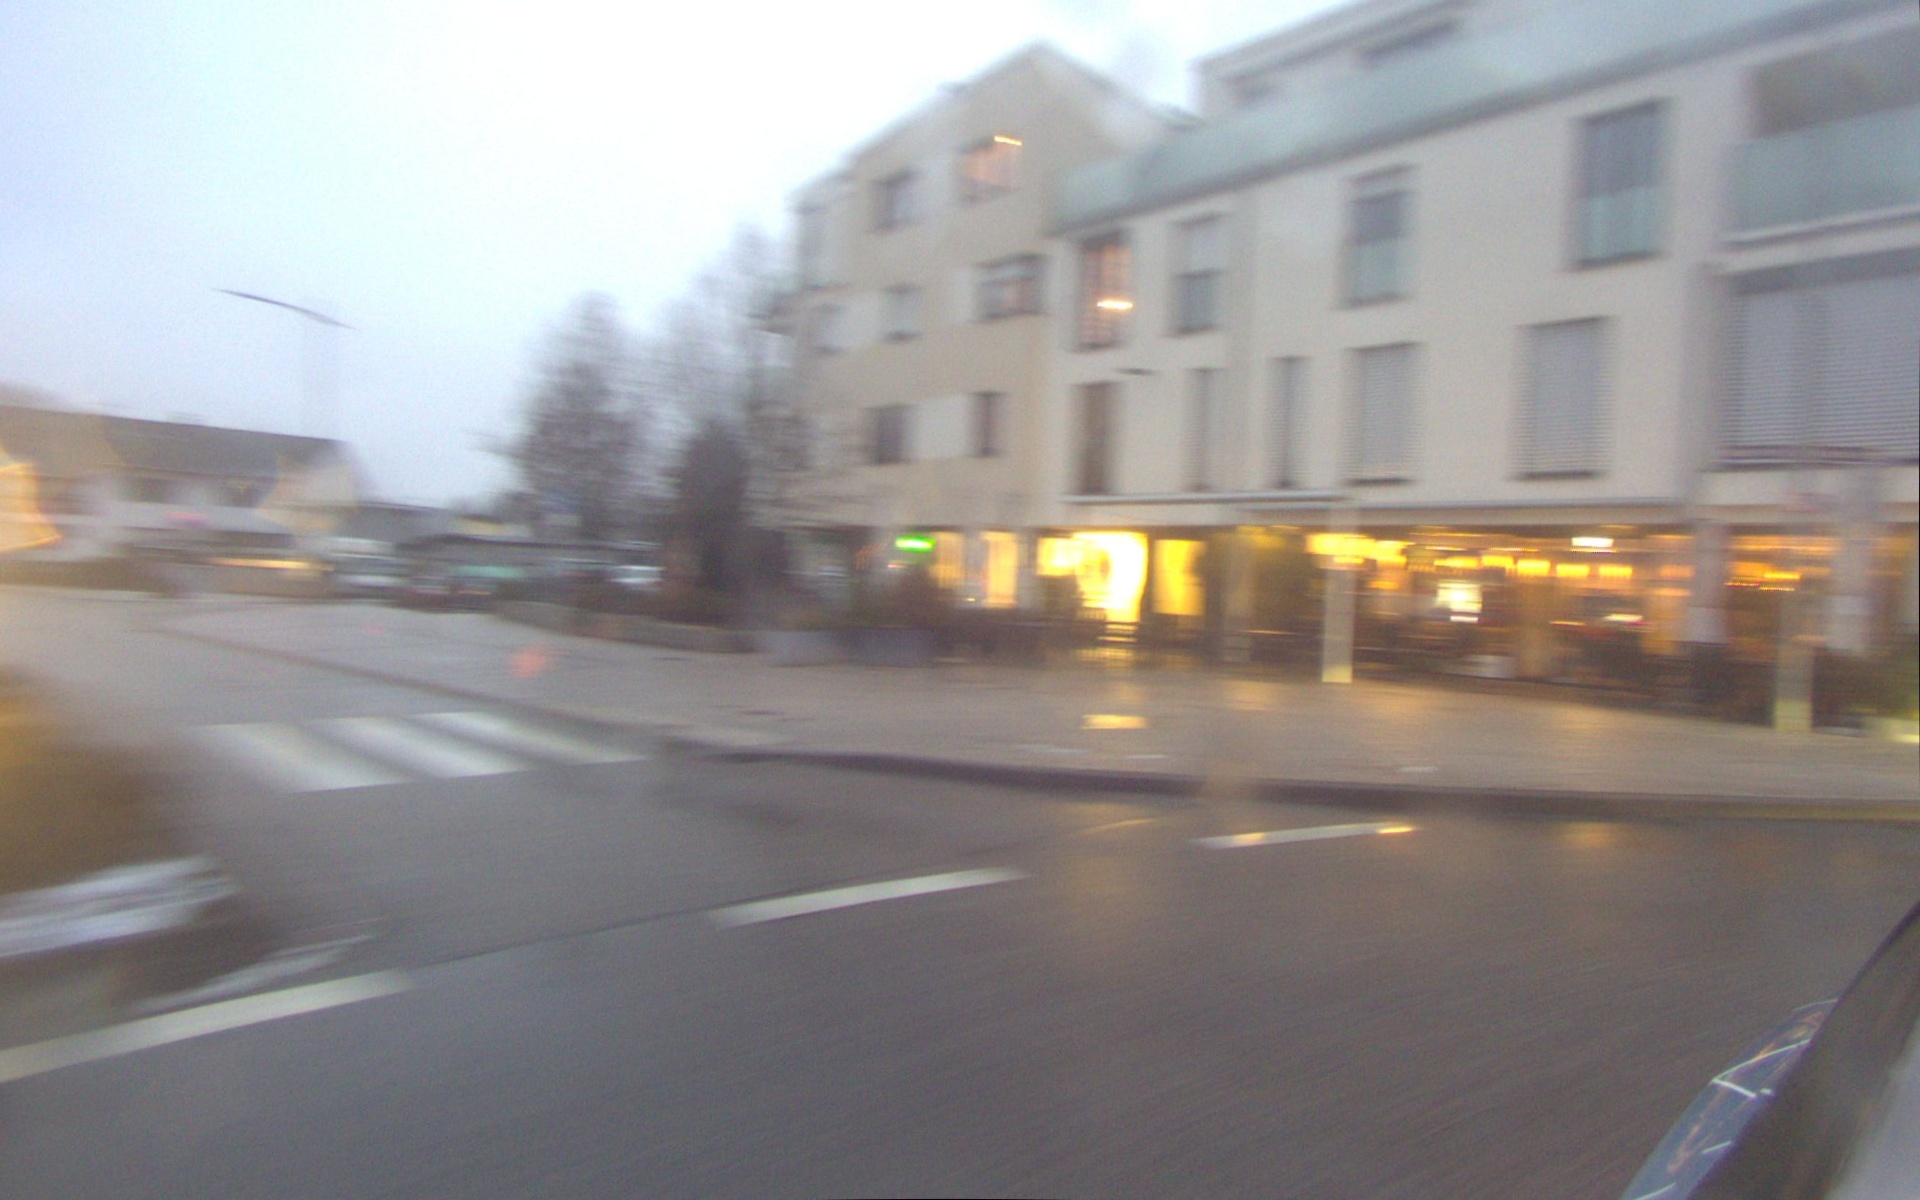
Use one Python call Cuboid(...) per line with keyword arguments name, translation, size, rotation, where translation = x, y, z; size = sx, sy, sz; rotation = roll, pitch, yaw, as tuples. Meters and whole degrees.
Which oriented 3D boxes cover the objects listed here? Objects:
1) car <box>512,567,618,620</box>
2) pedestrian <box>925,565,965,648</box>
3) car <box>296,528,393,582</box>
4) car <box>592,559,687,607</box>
Cuboid(name="car", translation=(-12.597, -0.242, 32.206), size=(3.755, 1.535, 1.689), rotation=(2, 1, 43))
Cuboid(name="pedestrian", translation=(-0.269, 0.113, 18.582), size=(0.449, 1.472, 0.546), rotation=(3, 1, 36))
Cuboid(name="car", translation=(-25.147, -1.820, 41.294), size=(4.843, 2.039, 2.180), rotation=(2, 1, 43))
Cuboid(name="car", translation=(-10.941, -0.593, 34.447), size=(3.431, 1.492, 1.497), rotation=(3, 1, 41))
